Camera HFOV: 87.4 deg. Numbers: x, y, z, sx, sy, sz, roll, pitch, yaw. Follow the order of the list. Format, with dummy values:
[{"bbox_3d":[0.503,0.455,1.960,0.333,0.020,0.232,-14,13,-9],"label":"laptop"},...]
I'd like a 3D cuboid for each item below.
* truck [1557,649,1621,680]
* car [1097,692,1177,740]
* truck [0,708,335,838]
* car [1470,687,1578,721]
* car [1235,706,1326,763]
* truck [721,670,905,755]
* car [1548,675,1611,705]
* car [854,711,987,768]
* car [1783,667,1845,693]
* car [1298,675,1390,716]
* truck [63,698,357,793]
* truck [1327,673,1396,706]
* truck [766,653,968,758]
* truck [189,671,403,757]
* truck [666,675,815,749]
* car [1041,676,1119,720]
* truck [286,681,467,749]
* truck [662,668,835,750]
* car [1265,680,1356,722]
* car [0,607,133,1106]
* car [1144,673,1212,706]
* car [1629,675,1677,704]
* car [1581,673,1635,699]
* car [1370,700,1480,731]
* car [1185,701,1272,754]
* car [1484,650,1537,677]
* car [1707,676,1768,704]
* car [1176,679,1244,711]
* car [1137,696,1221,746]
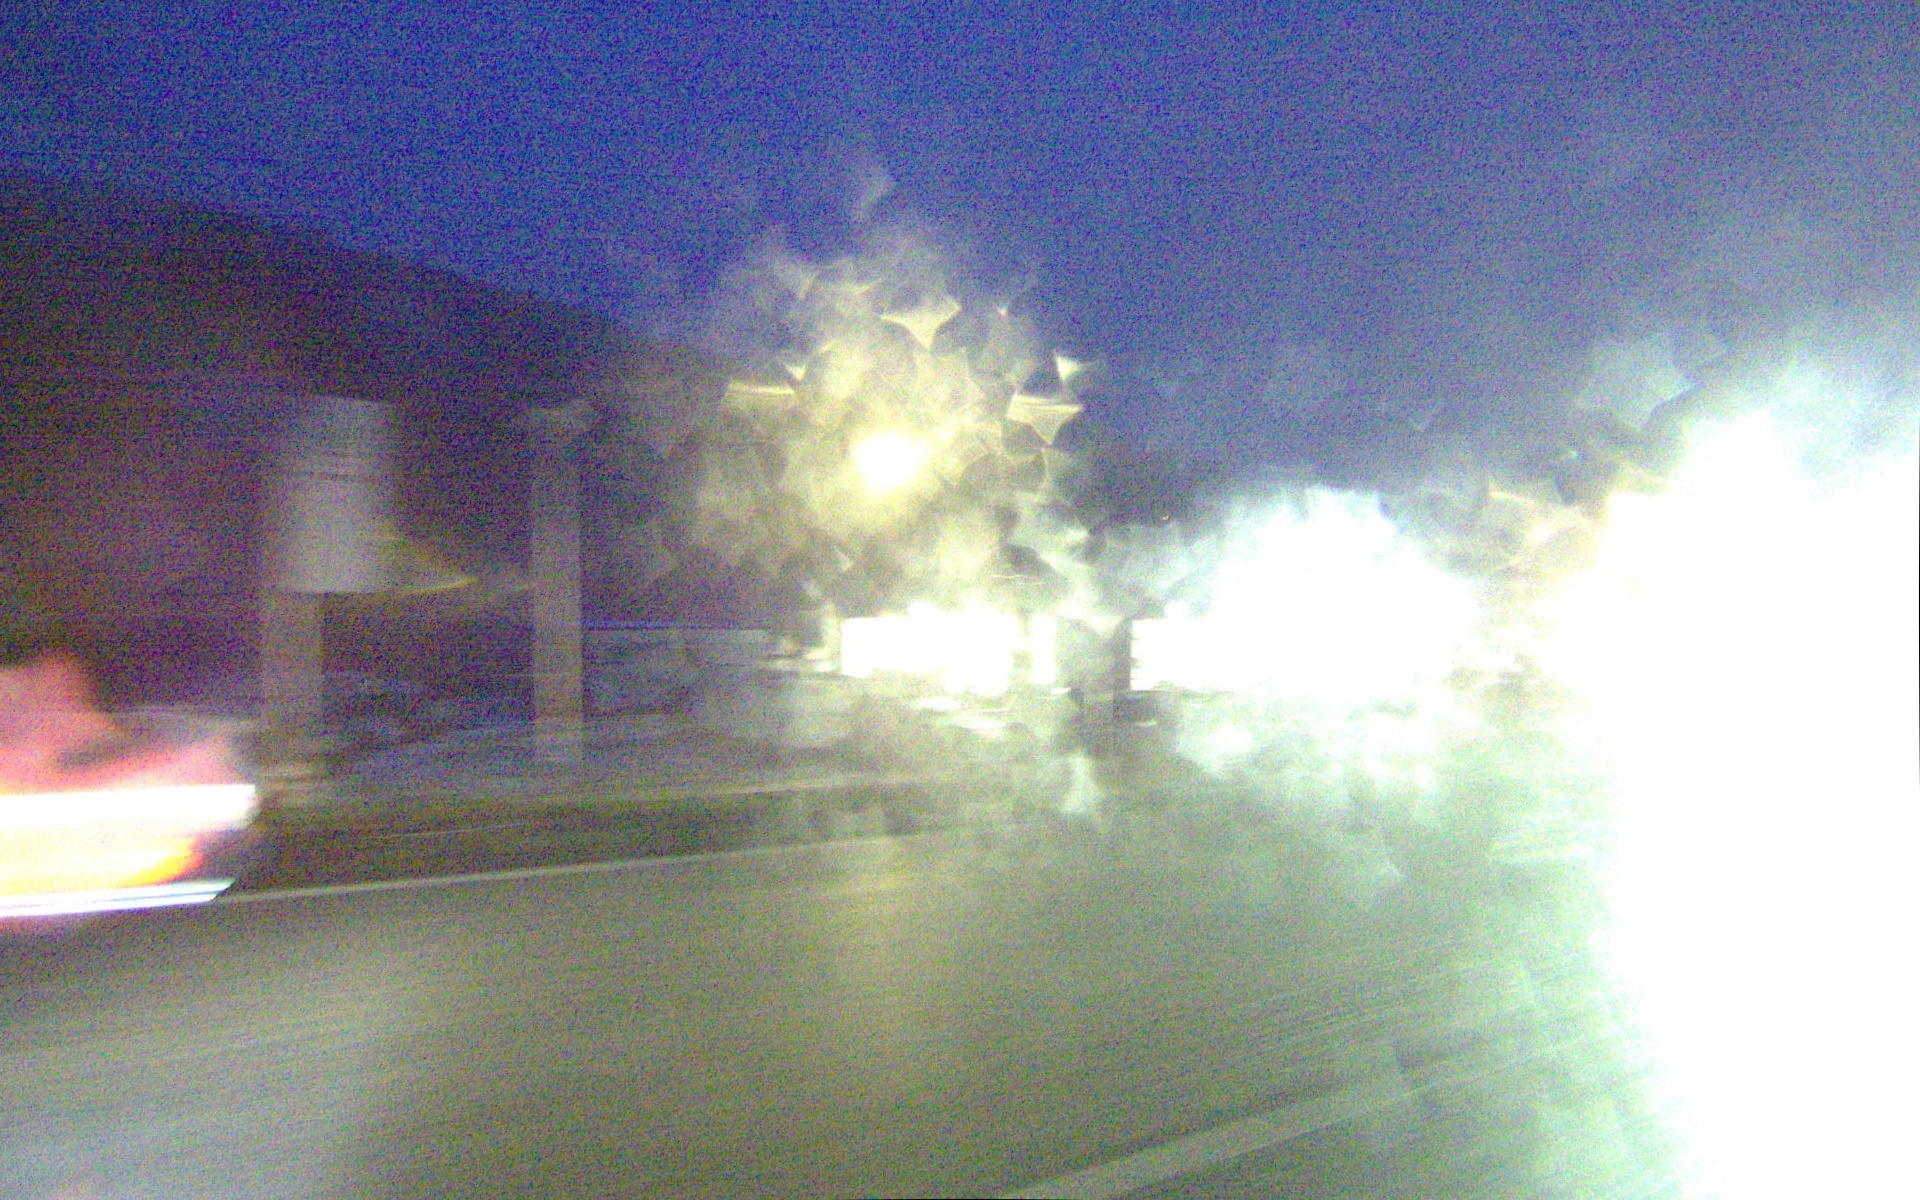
[{"bbox_3d":[54.891,5.573,87.556,6.425,2.495,2.306,2,-1,-34],"label":"truck"},{"bbox_3d":[8.559,5.562,48.457,3.686,1.932,1.705,1,0,-35],"label":"car"},{"bbox_3d":[-18.192,3.761,22.489,6.775,2.550,2.164,2,-6,-24],"label":"truck"},{"bbox_3d":[26.329,4.878,47.024,1.887,1.473,3.976,2,-7,-27],"label":"car"},{"bbox_3d":[13.238,5.512,41.435,3.686,1.932,1.705,1,0,-35],"label":"car"},{"bbox_3d":[-5.809,4.426,40.267,6.976,3.136,2.422,3,-7,-33],"label":"truck"},{"bbox_3d":[34.655,5.013,56.158,1.973,1.587,4.826,-5,-7,43],"label":"car"},{"bbox_3d":[-1.311,4.665,33.905,4.240,1.735,1.712,3,-7,-33],"label":"car"},{"bbox_3d":[56.692,5.331,66.695,3.952,1.616,1.765,2,-7,-29],"label":"car"},{"bbox_3d":[19.624,4.857,51.489,1.985,1.662,3.951,0,0,-41],"label":"car"},{"bbox_3d":[-22.594,4.348,30.760,6.775,2.550,2.164,2,-6,-24],"label":"truck"},{"bbox_3d":[27.475,6.134,68.699,4.445,2.145,2.074,2,-7,-31],"label":"truck"},{"bbox_3d":[-3.329,3.789,36.559,6.973,3.523,2.455,3,-6,-32],"label":"truck"},{"bbox_3d":[-25.254,4.305,38.637,6.616,3.083,2.159,2,-6,-30],"label":"truck"},{"bbox_3d":[-10.379,5.253,47.746,6.497,3.301,2.422,3,-7,-33],"label":"truck"},{"bbox_3d":[6.341,5.131,52.947,3.962,2.040,1.721,1,0,-37],"label":"car"},{"bbox_3d":[-26.099,5.103,45.246,6.789,2.839,2.159,2,-6,-30],"label":"truck"},{"bbox_3d":[-9.082,4.671,43.529,6.976,3.301,2.422,3,-7,-33],"label":"truck"},{"bbox_3d":[17.353,4.953,49.790,3.929,1.662,1.996,1,0,31],"label":"car"},{"bbox_3d":[-4.602,0.682,2.136,4.088,1.372,1.629,1,-1,-27],"label":"car"},{"bbox_3d":[13.121,5.435,60.715,1.907,1.879,3.976,2,-7,-27],"label":"car"},{"bbox_3d":[39.950,5.161,57.980,1.785,1.587,4.202,-3,-5,29],"label":"car"},{"bbox_3d":[43.349,5.745,67.181,3.474,1.638,1.672,2,-5,-31],"label":"car"},{"bbox_3d":[19.789,4.939,42.936,1.823,1.216,3.976,2,-7,-27],"label":"car"},{"bbox_3d":[11.707,5.495,43.677,3.686,1.932,1.705,1,0,-35],"label":"car"},{"bbox_3d":[50.359,5.786,91.909,4.399,2.295,1.987,2,0,-25],"label":"car"},{"bbox_3d":[47.106,5.424,60.857,3.474,1.638,1.738,2,-5,-31],"label":"car"},{"bbox_3d":[15.488,5.902,62.338,1.974,1.879,3.976,2,-7,-27],"label":"car"},{"bbox_3d":[10.034,5.473,45.886,3.686,1.932,1.705,1,0,-35],"label":"car"}]
